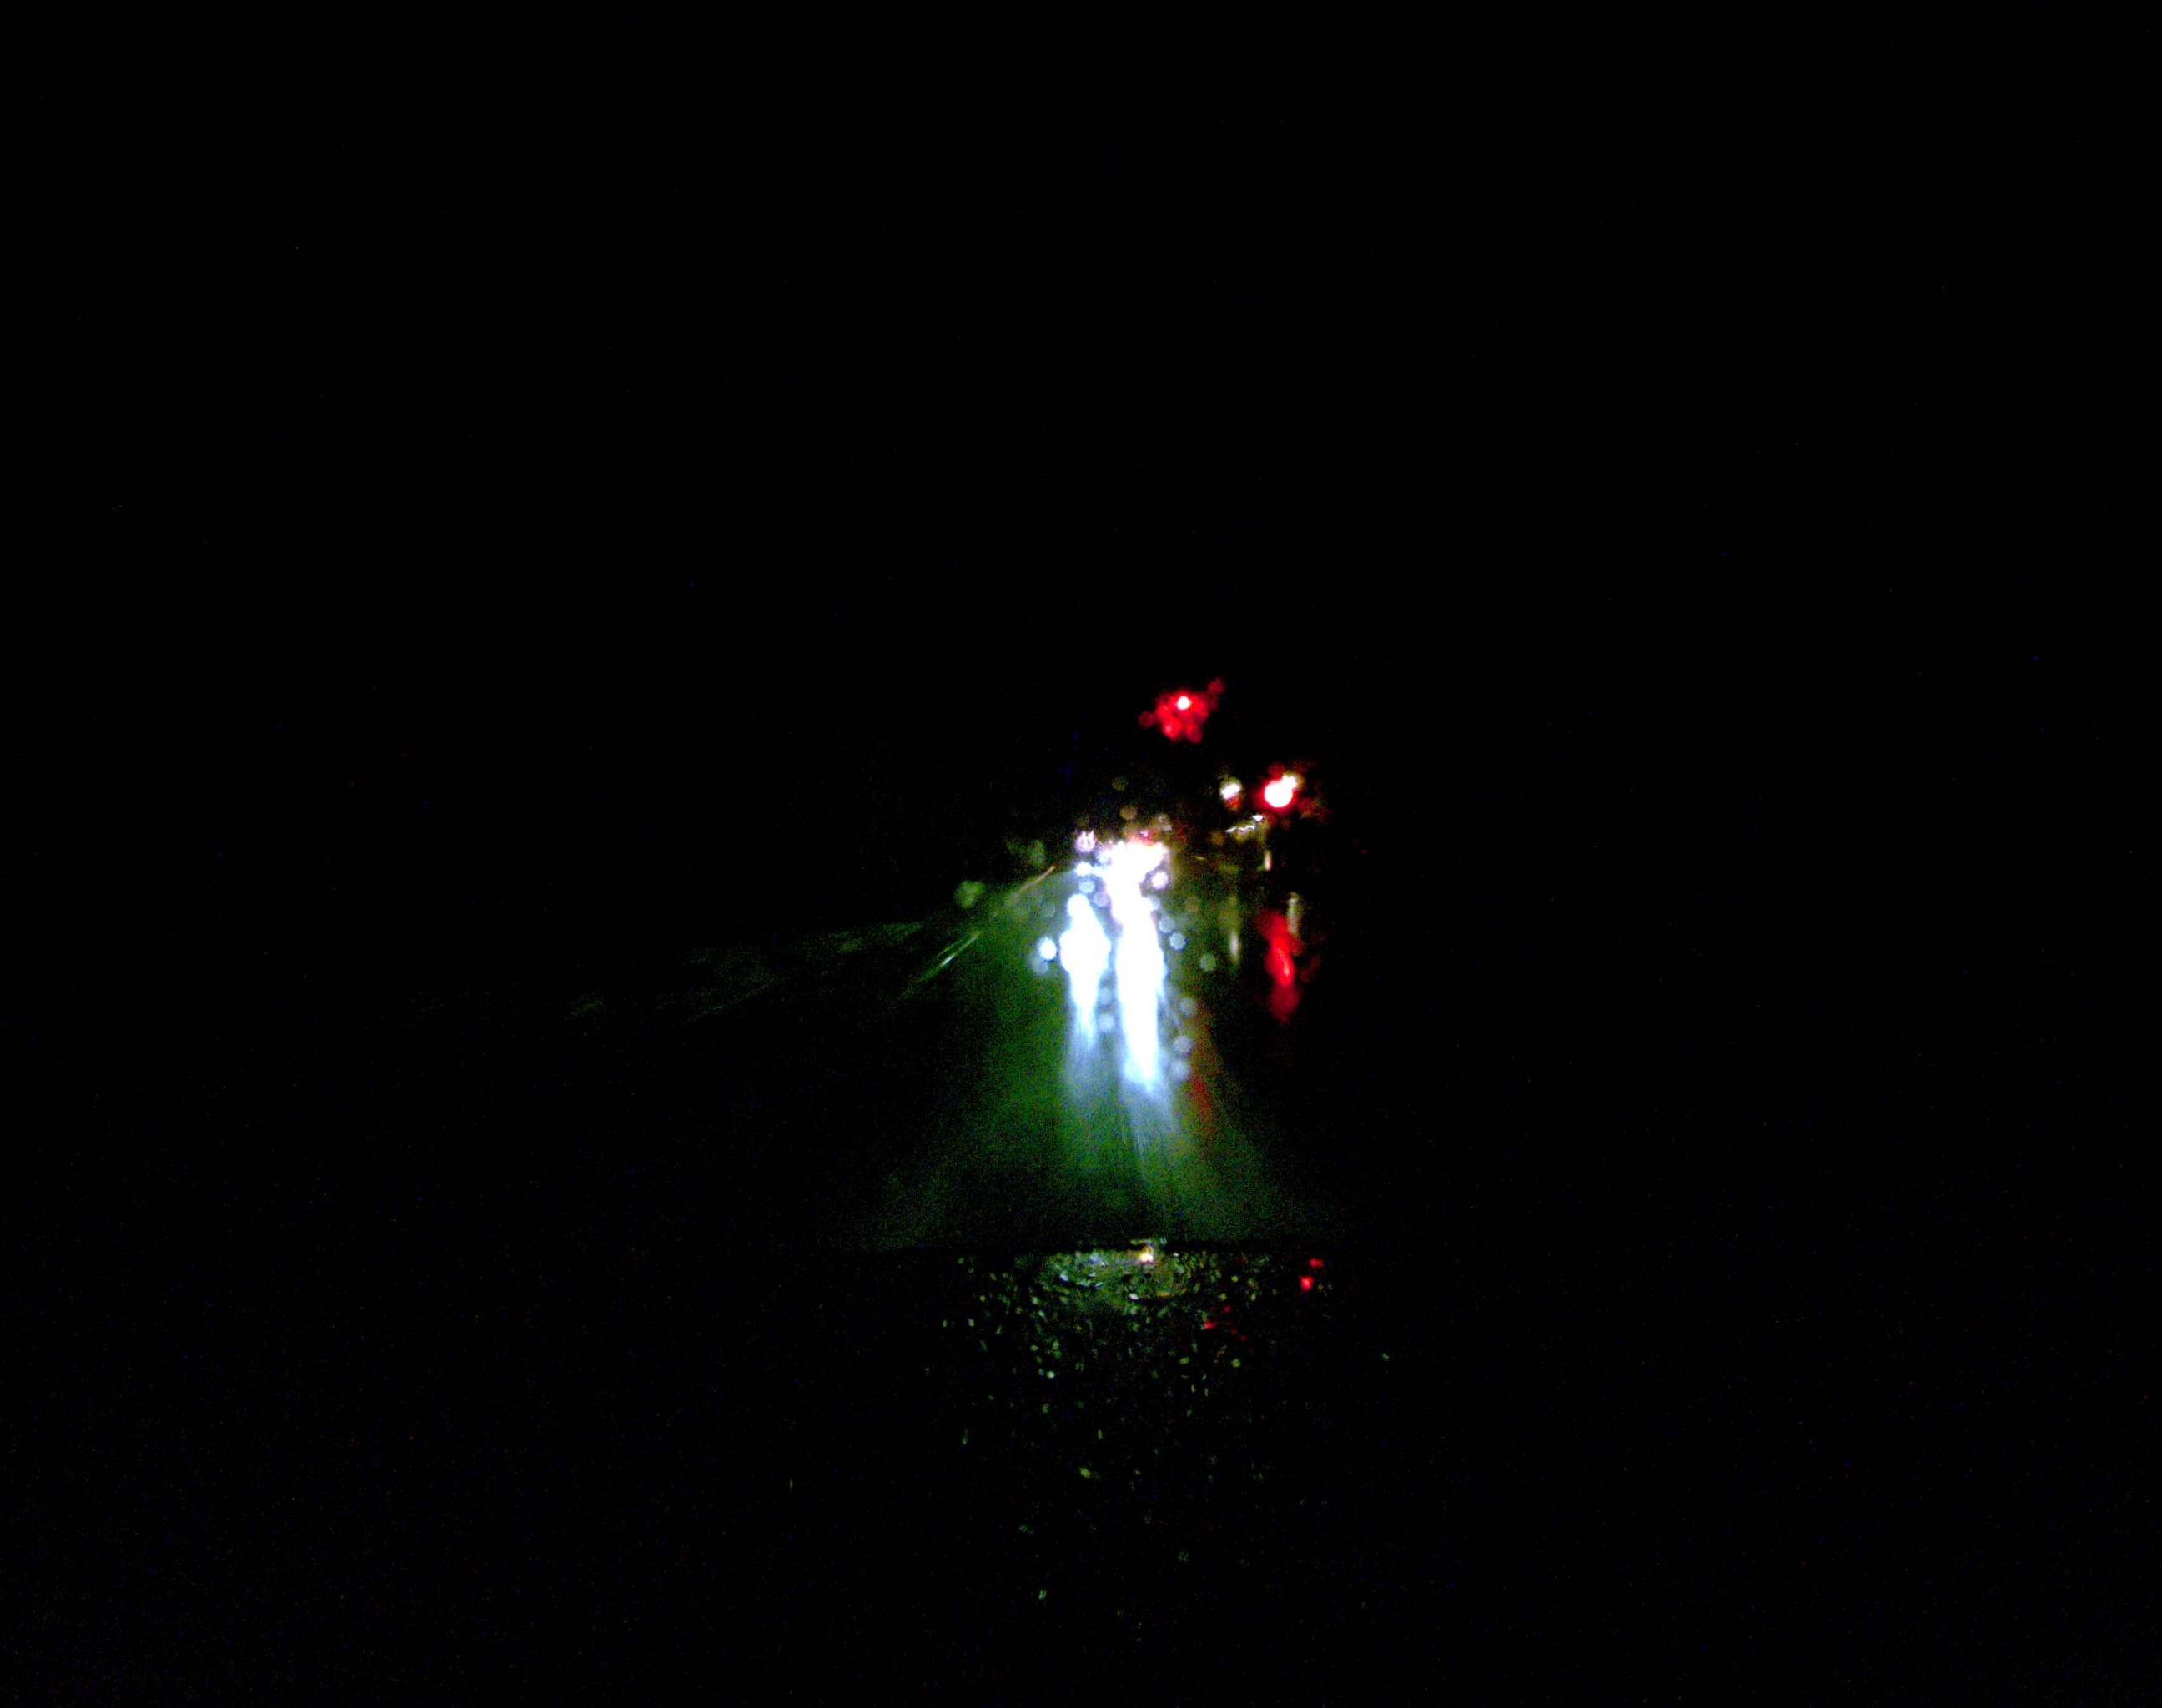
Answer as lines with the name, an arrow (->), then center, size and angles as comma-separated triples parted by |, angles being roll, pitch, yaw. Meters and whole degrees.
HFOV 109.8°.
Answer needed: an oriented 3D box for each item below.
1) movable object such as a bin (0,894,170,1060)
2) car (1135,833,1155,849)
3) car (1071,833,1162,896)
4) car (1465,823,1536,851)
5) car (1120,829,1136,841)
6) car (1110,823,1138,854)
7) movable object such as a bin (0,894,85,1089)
movable object such as a bin -> -9.667, 1.093, 6.947 | 1.253, 1.292, 1.315 | -2, 3, -28
car -> 7.239, -1.491, 86.309 | 2.062, 1.668, 4.139 | -2, 1, 1
car -> 1.201, 0.285, 23.138 | 1.891, 1.678, 4.344 | -2, 0, 14
car -> 25.062, -1.061, 45.610 | 1.937, 1.577, 4.480 | -1, 3, 2
car -> 6.399, -2.561, 103.439 | 1.914, 1.502, 4.239 | -1, 2, 0
car -> 3.666, -1.295, 65.204 | 2.173, 2.427, 4.862 | -3, -1, 2
movable object such as a bin -> -8.872, 1.089, 5.650 | 1.253, 1.405, 1.388 | -2, 3, -28
